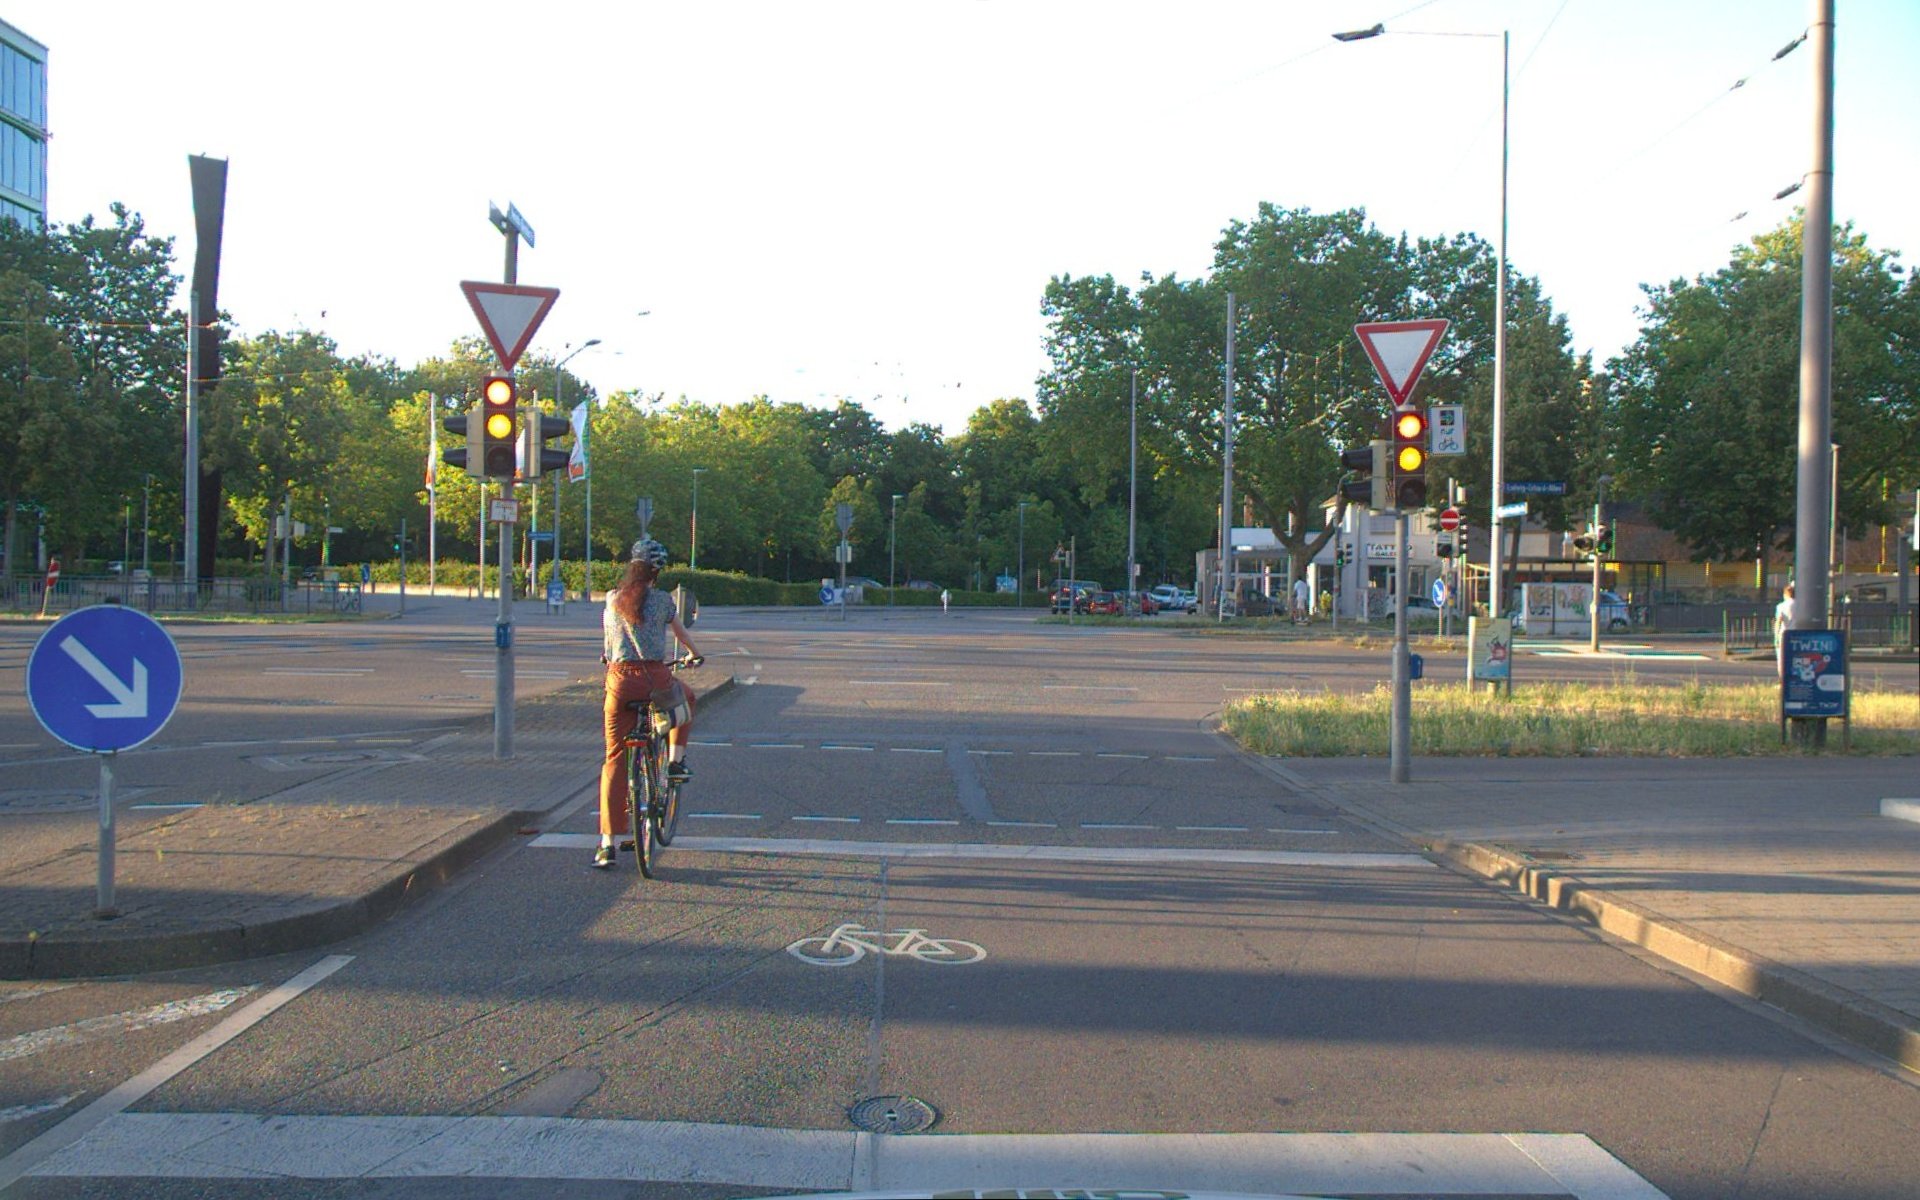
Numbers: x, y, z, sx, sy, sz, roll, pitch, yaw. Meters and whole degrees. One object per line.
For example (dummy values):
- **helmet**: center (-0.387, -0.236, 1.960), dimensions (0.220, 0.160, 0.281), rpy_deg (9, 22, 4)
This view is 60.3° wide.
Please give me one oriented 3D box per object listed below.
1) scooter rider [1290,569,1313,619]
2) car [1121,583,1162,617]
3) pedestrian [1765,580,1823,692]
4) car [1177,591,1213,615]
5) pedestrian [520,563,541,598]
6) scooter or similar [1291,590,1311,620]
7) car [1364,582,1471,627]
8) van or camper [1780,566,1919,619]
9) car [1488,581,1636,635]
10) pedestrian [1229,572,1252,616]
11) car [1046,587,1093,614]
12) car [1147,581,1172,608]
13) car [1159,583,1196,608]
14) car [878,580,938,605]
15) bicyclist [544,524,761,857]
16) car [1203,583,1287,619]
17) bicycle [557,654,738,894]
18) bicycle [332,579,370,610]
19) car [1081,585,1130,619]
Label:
- **scooter rider**: center (13.026, -0.234, 63.099), dimensions (0.688, 1.887, 0.669), rpy_deg (1, -1, -1)
- **car**: center (11.382, -0.027, 103.480), dimensions (1.875, 2.083, 4.002), rpy_deg (1, 1, 17)
- **pedestrian**: center (13.978, 0.588, 27.746), dimensions (0.746, 1.822, 0.802), rpy_deg (1, 0, 20)
- **car**: center (16.446, 0.195, 115.751), dimensions (1.875, 1.630, 4.002), rpy_deg (1, 1, 17)
- **pedestrian**: center (-21.719, -0.990, 83.678), dimensions (0.884, 1.785, 0.715), rpy_deg (1, 0, -26)
- **scooter or similar**: center (13.024, 0.198, 63.167), dimensions (0.499, 1.109, 1.243), rpy_deg (1, 0, -1)
- **car**: center (20.094, 0.183, 72.771), dimensions (4.142, 1.878, 2.001), rpy_deg (1, 0, 2)
- **van or camper**: center (43.646, -0.352, 80.386), dimensions (6.426, 2.452, 2.265), rpy_deg (1, 0, 3)
- **car**: center (20.813, 0.266, 57.229), dimensions (4.445, 1.758, 1.860), rpy_deg (1, 0, -5)
- **pedestrian**: center (11.528, -0.233, 67.936), dimensions (0.704, 1.785, 0.897), rpy_deg (1, 0, 23)
- **car**: center (6.666, 0.048, 100.195), dimensions (1.719, 1.568, 4.401), rpy_deg (0, -1, 20)
- **car**: center (15.825, -0.439, 131.414), dimensions (1.951, 2.049, 4.003), rpy_deg (1, 1, 6)
- **car**: center (17.865, -0.385, 135.962), dimensions (1.953, 2.049, 3.998), rpy_deg (1, 1, 24)
- **car**: center (-3.424, -0.528, 109.466), dimensions (3.905, 1.588, 2.000), rpy_deg (1, 0, 1)
- **bicyclist**: center (-1.682, 0.474, 9.226), dimensions (1.011, 1.748, 0.996), rpy_deg (1, 0, -1)
- **car**: center (15.323, 0.043, 89.189), dimensions (4.285, 1.867, 1.950), rpy_deg (1, 1, 4)
- **bicycle**: center (-1.684, 0.894, 9.213), dimensions (0.621, 1.086, 2.122), rpy_deg (1, 1, -1)
- **bicycle**: center (-23.128, -0.216, 62.886), dimensions (0.685, 1.156, 2.391), rpy_deg (1, 1, -3)
- **car**: center (8.455, 0.105, 95.821), dimensions (1.829, 1.907, 3.875), rpy_deg (1, 1, 20)
